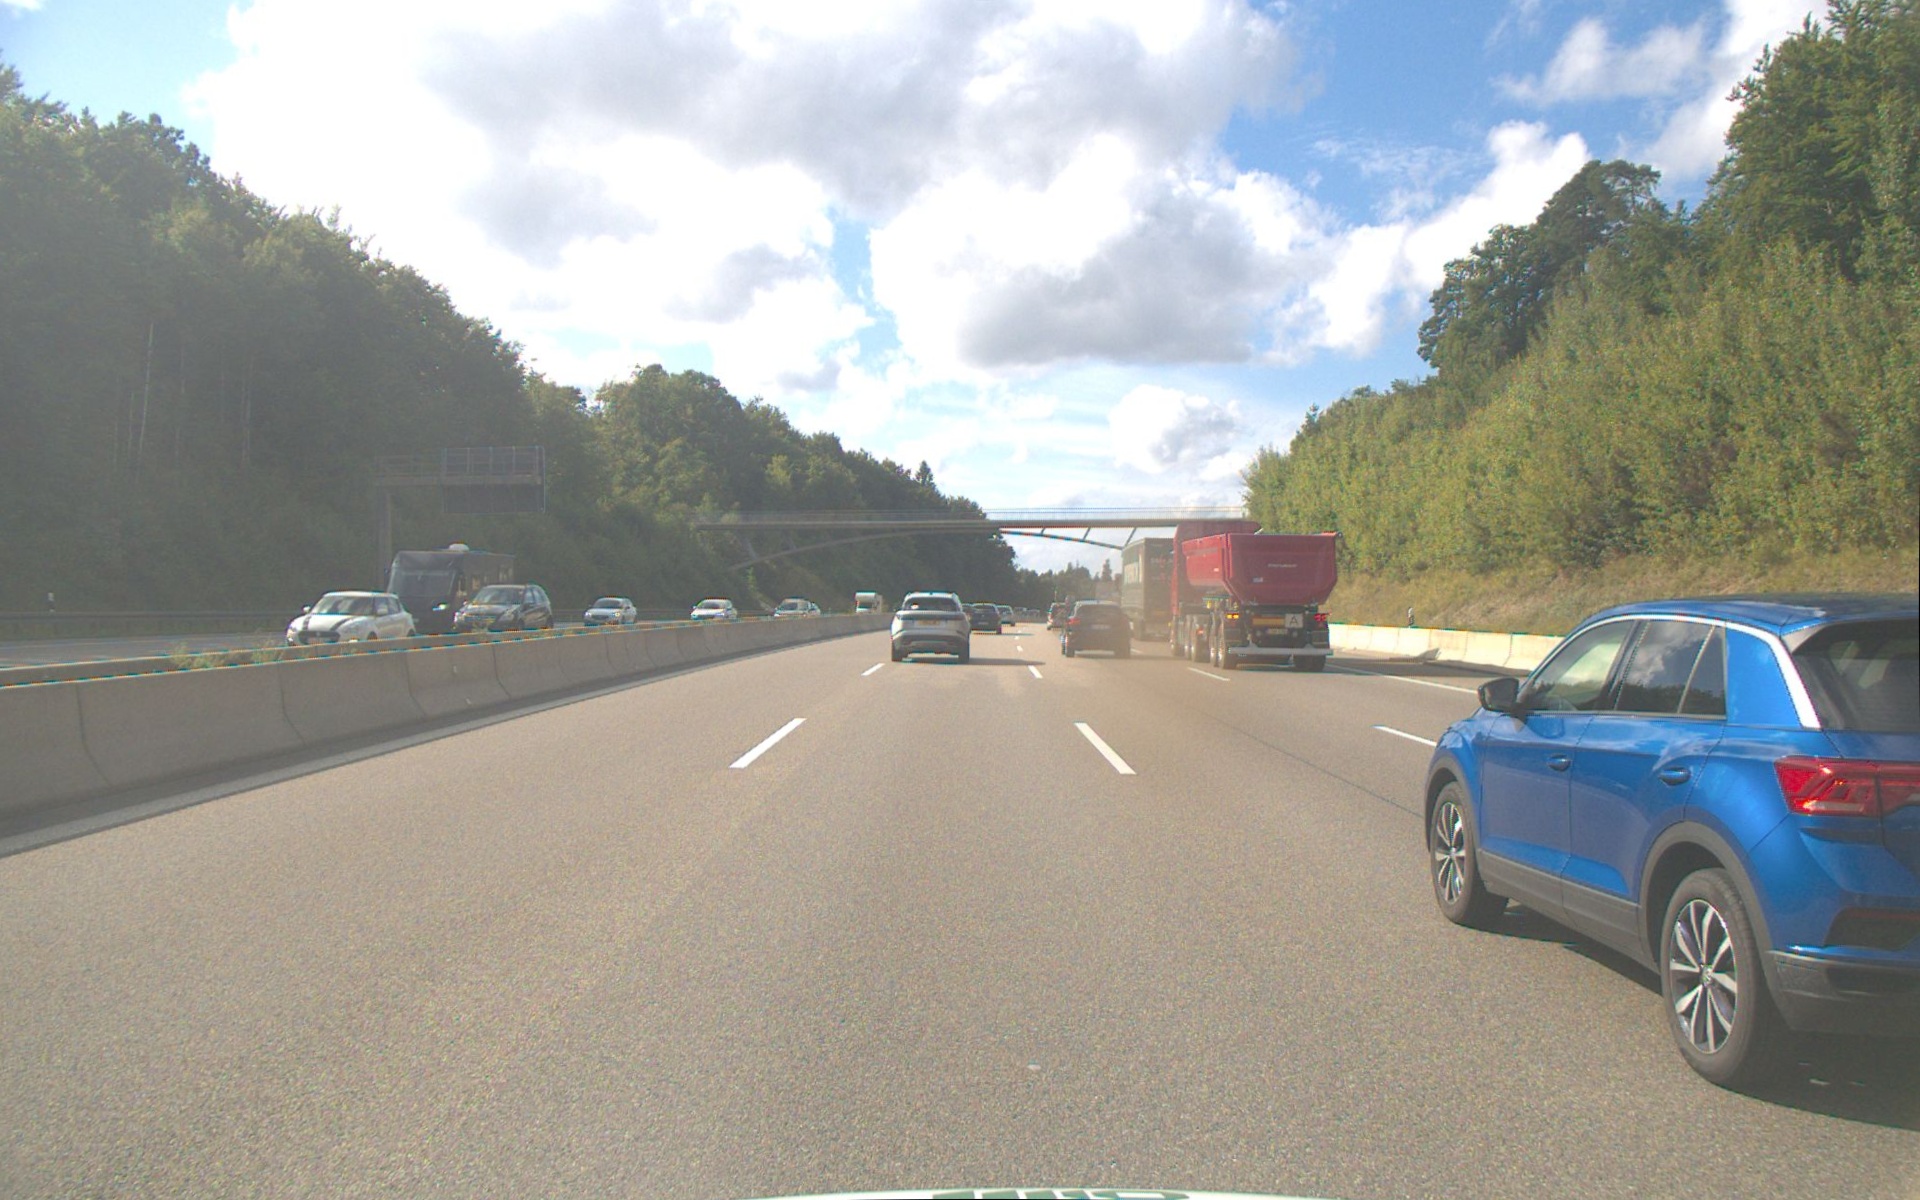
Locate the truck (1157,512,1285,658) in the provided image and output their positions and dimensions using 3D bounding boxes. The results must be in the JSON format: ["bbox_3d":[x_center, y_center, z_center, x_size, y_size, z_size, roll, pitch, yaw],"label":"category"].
[{"bbox_3d":[7.203,-0.406,46.284,2.654,3.784,5.817,1,0,0],"label":"truck"}]

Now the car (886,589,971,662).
[{"bbox_3d":[-0.735,0.584,41.438,1.965,1.644,5.301,1,1,0],"label":"car"}]

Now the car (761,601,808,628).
[{"bbox_3d":[-9.084,0.745,85.940,1.806,1.319,4.260,1,0,2],"label":"car"}]

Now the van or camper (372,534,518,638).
[{"bbox_3d":[-16.829,-0.436,54.590,2.506,3.180,7.333,1,0,0],"label":"van or camper"}]

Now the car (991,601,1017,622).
[{"bbox_3d":[3.182,0.836,119.439,1.784,1.483,4.001,1,0,2],"label":"car"}]

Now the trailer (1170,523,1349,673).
[{"bbox_3d":[7.216,-0.055,41.354,2.654,3.288,9.731,1,0,0],"label":"trailer"}]

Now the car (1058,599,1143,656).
[{"bbox_3d":[3.828,0.731,45.674,1.786,1.483,3.997,1,0,-3],"label":"car"}]

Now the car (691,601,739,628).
[{"bbox_3d":[-12.500,0.705,84.557,1.807,1.319,4.258,1,0,0],"label":"car"}]

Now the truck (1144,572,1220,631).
[{"bbox_3d":[11.015,0.075,82.842,2.655,2.787,8.053,1,0,0],"label":"truck"}]

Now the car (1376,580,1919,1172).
[{"bbox_3d":[3.130,0.709,6.639,1.737,1.557,4.457,-1,0,-1],"label":"car"}]

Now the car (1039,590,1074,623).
[{"bbox_3d":[5.595,0.364,96.372,1.854,1.889,4.101,1,0,1],"label":"car"}]

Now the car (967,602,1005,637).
[{"bbox_3d":[1.295,0.927,80.590,1.785,1.573,4.001,2,0,1],"label":"car"}]

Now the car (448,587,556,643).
[{"bbox_3d":[-13.450,0.408,48.859,1.883,1.567,4.702,1,0,0],"label":"car"}]

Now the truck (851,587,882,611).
[{"bbox_3d":[-11.104,-0.130,196.062,2.805,2.726,7.011,1,0,4],"label":"truck"}]

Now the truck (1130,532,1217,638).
[{"bbox_3d":[8.711,-0.580,68.483,3.053,4.003,10.417,1,0,5],"label":"truck"}]

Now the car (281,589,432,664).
[{"bbox_3d":[-13.340,0.551,36.825,1.778,1.562,4.315,1,0,0],"label":"car"}]

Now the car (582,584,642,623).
[{"bbox_3d":[-16.153,0.158,76.958,1.807,1.774,4.259,1,0,1],"label":"car"}]

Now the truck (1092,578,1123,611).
[{"bbox_3d":[13.632,-0.483,152.696,2.784,2.976,8.391,1,0,5],"label":"truck"}]
